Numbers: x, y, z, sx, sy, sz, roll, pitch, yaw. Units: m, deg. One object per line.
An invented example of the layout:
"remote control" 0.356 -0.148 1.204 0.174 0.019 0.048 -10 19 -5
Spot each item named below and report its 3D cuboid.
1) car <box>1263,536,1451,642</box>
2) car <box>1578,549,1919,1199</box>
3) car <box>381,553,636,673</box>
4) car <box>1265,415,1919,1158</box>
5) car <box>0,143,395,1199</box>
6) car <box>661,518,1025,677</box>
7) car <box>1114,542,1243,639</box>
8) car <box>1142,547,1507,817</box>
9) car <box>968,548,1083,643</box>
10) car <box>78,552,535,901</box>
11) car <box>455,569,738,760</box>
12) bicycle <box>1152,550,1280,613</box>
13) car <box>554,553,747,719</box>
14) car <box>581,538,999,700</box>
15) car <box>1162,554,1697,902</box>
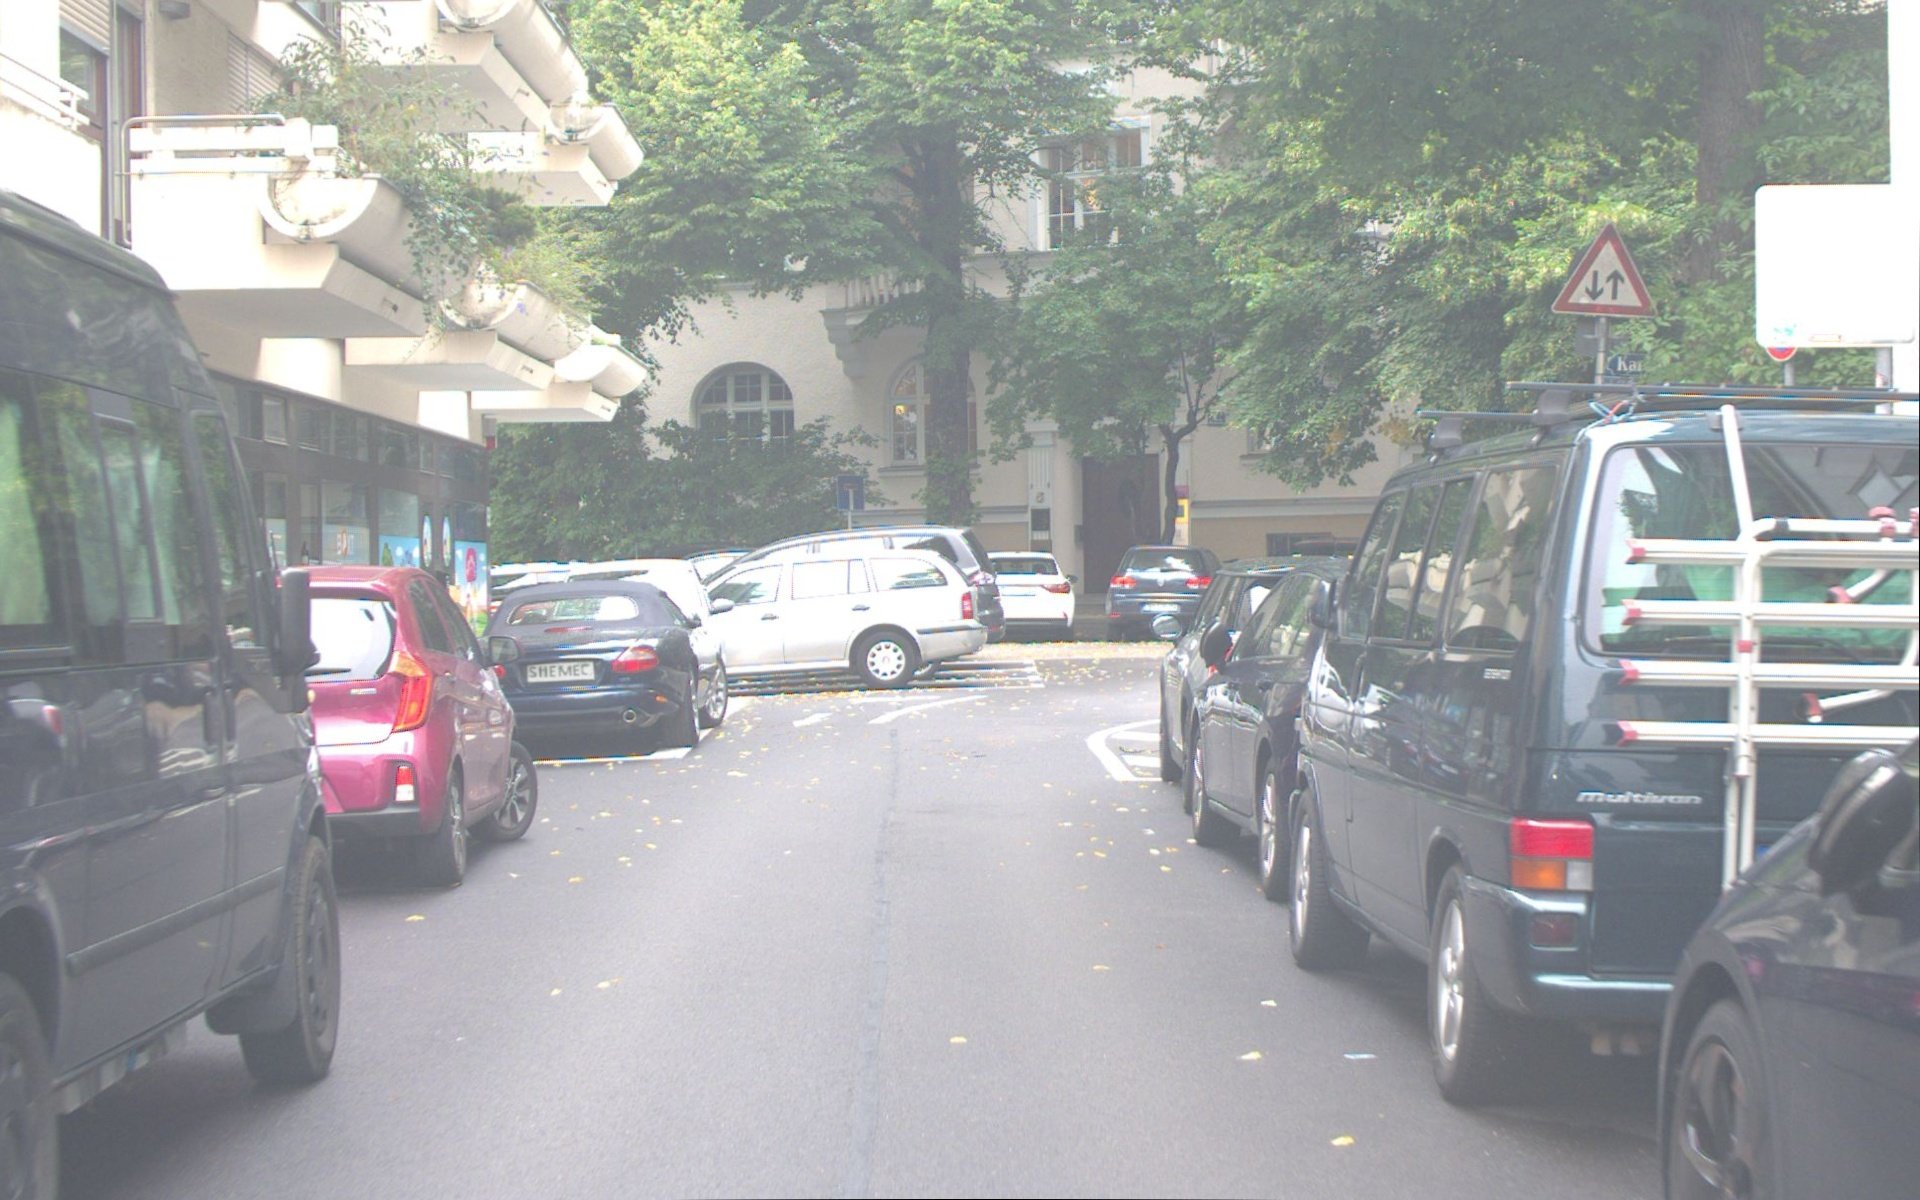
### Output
"car" 6.026 -0.183 51.872 1.841 1.525 4.020 0 1 22
"car" 2.323 0.691 4.960 1.905 1.548 4.625 -1 0 -1
"car" -6.306 0.166 47.967 3.287 1.625 1.510 0 1 -20
"car" 2.166 0.430 10.715 1.874 1.785 4.782 -1 0 -1
"car" -2.807 0.294 8.106 2.018 2.271 5.391 -2 0 0
"car" -1.413 -0.049 41.494 4.219 1.678 1.903 -3 1 -2
"car" 3.360 -0.170 52.334 1.792 1.426 3.999 0 1 6
"car" 2.082 0.421 20.627 1.743 1.436 4.000 -1 1 0
"car" 1.040 -0.101 53.499 1.718 1.426 4.000 0 1 2
"car" -3.067 0.528 16.791 1.619 1.491 3.709 -1 1 -2
"car" -2.772 0.443 27.112 1.797 1.273 4.617 -2 1 -1
"bicycle" 4.562 -0.338 61.268 2.232 1.111 0.576 1 1 28
"car" -2.889 0.294 32.726 1.560 1.416 3.834 -2 1 -2
"car" -1.762 0.180 36.241 4.227 1.450 1.721 -3 1 -1
"car" 2.069 0.507 16.279 1.833 1.414 4.059 -1 1 -2
